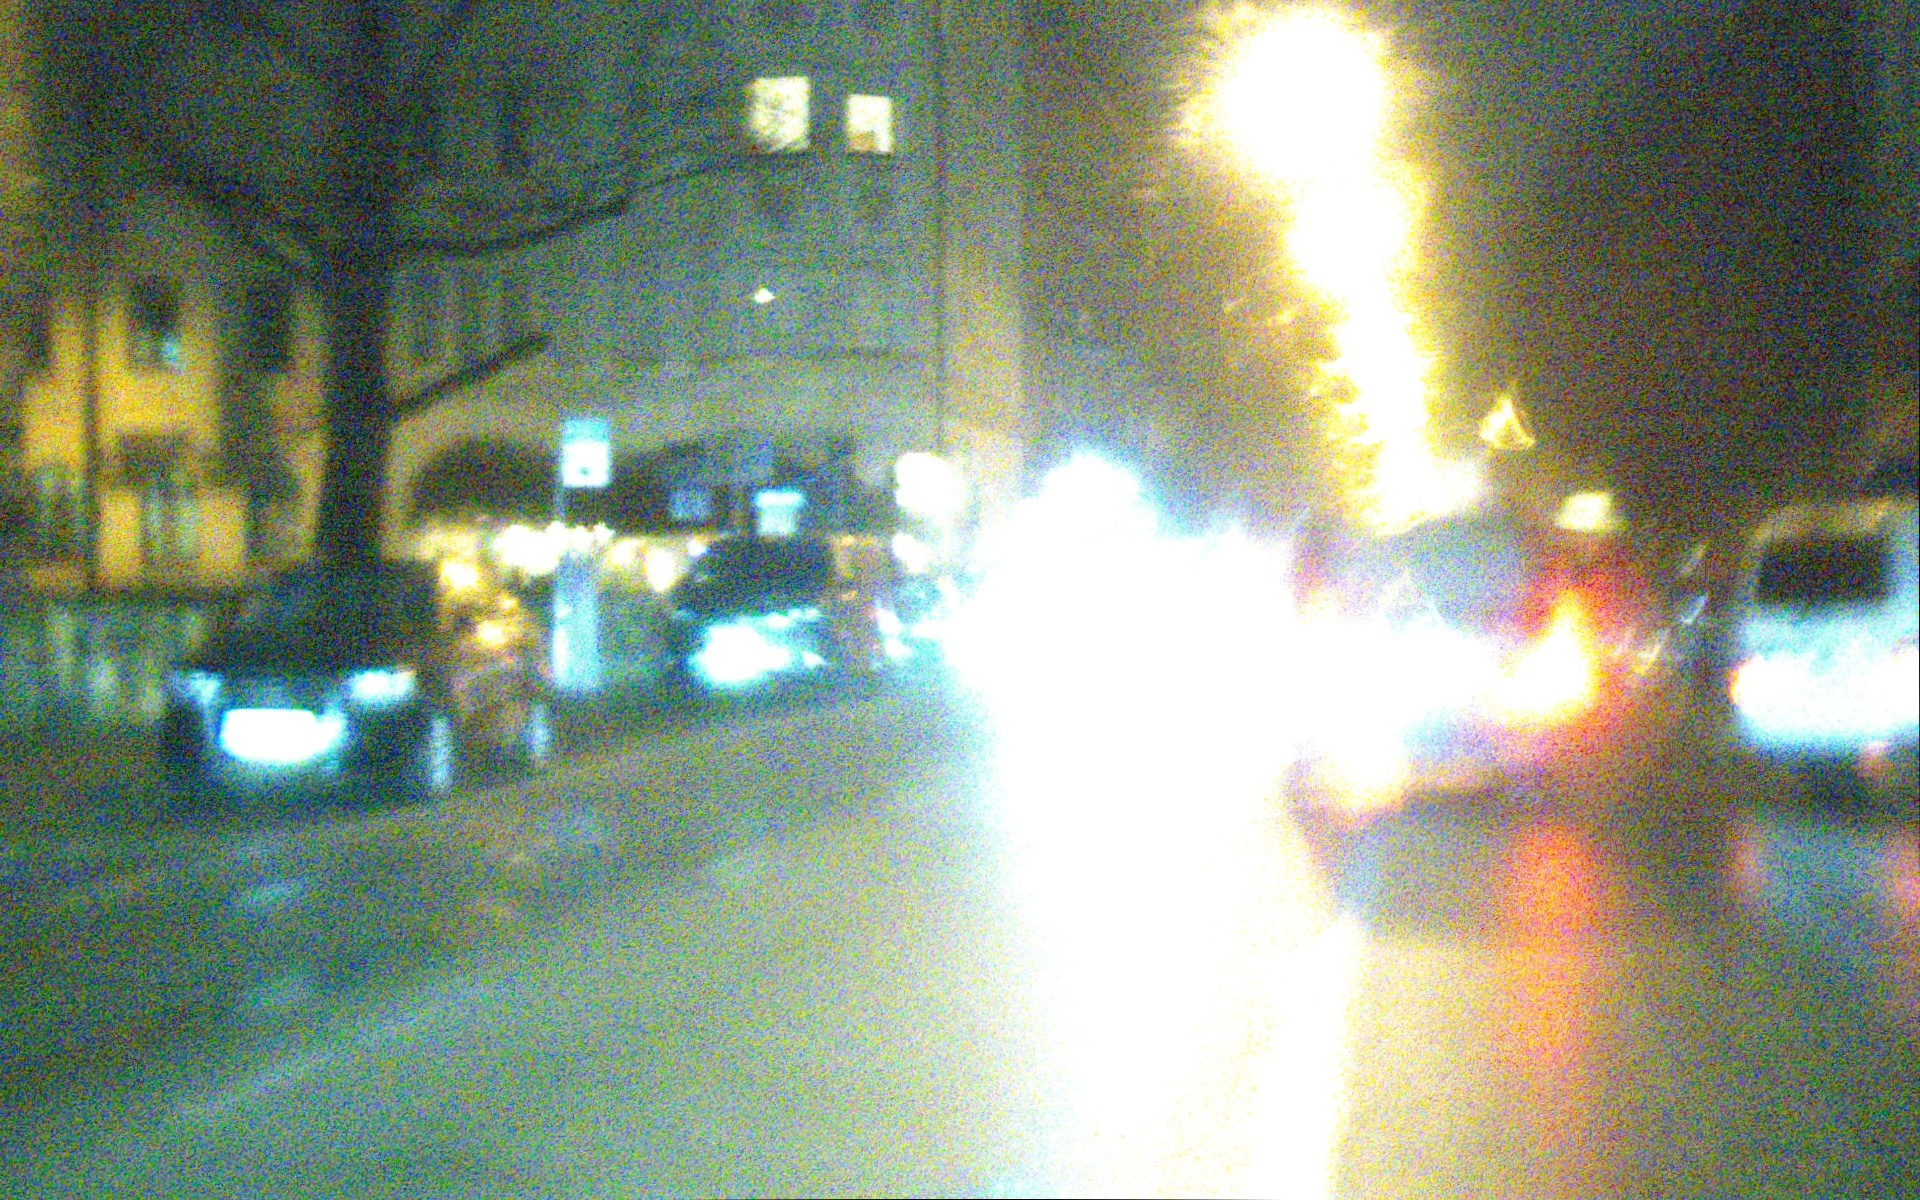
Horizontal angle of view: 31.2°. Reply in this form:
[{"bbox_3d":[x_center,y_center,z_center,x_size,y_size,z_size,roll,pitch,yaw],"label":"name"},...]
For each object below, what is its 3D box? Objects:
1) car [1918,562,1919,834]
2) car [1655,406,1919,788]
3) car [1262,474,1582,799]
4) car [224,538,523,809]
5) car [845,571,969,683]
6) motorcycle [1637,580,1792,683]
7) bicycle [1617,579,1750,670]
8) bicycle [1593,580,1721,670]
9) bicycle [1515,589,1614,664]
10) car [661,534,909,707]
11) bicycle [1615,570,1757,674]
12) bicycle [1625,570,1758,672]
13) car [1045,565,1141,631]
[{"bbox_3d":[7.179,0.511,18.475,3.717,1.463,1.614,-1,0,-23],"label":"car"},{"bbox_3d":[7.360,-0.056,23.064,4.925,2.333,2.232,-1,0,-26],"label":"car"},{"bbox_3d":[3.202,0.231,23.799,1.994,2.043,3.999,1,0,8],"label":"car"},{"bbox_3d":[-4.097,0.420,23.520,1.811,1.664,4.412,0,1,-12],"label":"car"},{"bbox_3d":[-0.707,0.343,48.013,1.546,1.438,3.563,2,1,1],"label":"car"},{"bbox_3d":[8.849,0.367,40.345,1.632,1.120,0.653,-3,0,1],"label":"motorcycle"},{"bbox_3d":[9.234,0.310,43.916,1.596,1.108,0.418,-2,1,5],"label":"bicycle"},{"bbox_3d":[9.104,0.321,44.913,1.596,1.154,0.418,0,0,5],"label":"bicycle"},{"bbox_3d":[7.703,0.332,43.811,1.211,0.944,0.302,0,0,4],"label":"bicycle"},{"bbox_3d":[-1.904,0.199,38.964,1.867,1.840,4.825,0,0,9],"label":"car"},{"bbox_3d":[8.959,0.270,42.451,1.665,1.230,0.385,-1,1,10],"label":"bicycle"},{"bbox_3d":[9.129,0.266,42.951,1.580,1.230,0.417,-1,1,10],"label":"bicycle"},{"bbox_3d":[2.882,-0.058,73.837,1.654,1.354,4.221,0,1,8],"label":"car"}]
